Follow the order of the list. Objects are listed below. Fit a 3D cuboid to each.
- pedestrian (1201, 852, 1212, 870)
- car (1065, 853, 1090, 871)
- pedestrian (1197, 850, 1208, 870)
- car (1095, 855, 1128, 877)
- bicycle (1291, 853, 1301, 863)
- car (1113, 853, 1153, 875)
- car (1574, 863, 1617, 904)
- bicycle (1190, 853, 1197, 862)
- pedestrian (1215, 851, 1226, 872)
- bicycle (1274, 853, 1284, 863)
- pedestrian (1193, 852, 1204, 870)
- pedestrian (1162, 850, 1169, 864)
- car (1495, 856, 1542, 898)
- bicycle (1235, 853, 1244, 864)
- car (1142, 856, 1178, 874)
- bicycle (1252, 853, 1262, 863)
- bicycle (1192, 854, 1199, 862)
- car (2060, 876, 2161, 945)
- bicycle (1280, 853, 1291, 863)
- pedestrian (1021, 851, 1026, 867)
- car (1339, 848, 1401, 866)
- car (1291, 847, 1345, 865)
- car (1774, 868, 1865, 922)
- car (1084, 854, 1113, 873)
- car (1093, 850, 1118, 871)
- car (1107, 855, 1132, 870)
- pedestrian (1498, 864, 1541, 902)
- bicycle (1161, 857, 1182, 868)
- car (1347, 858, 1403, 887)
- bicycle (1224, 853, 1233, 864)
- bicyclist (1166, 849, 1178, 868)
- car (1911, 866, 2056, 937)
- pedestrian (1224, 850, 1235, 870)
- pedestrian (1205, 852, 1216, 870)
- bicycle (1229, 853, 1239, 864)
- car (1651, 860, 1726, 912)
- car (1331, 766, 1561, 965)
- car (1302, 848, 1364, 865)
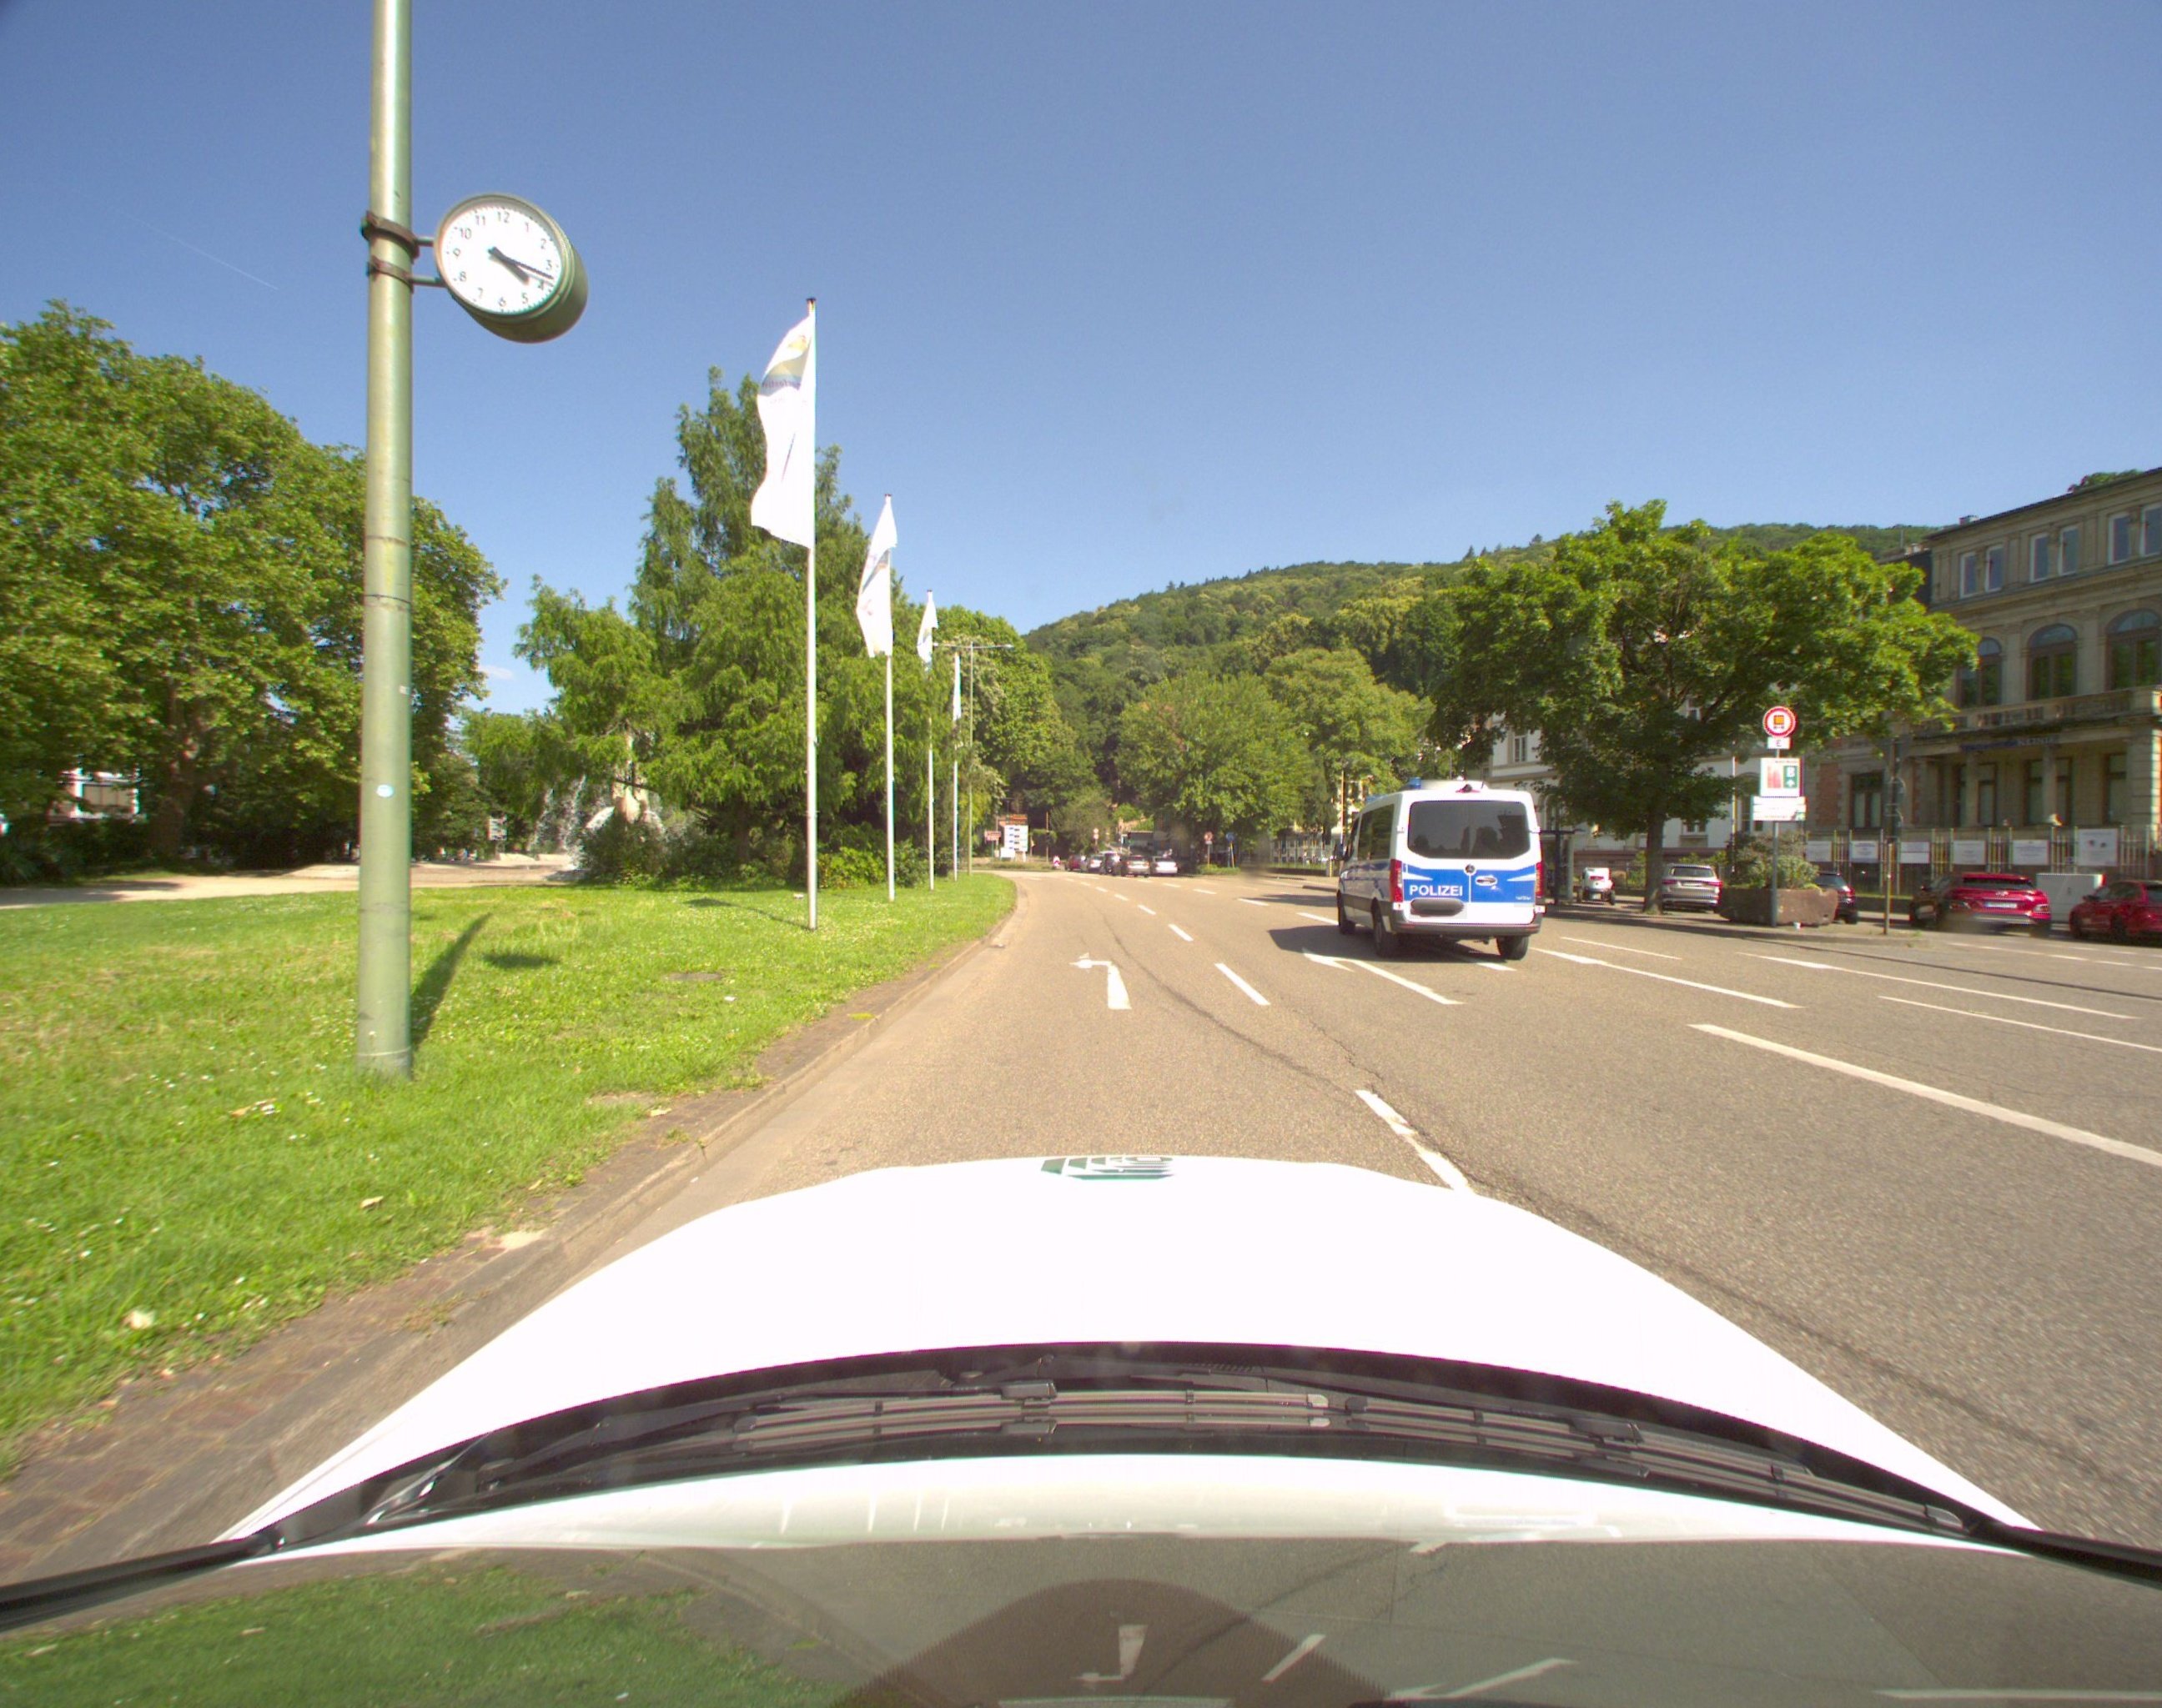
[{"bbox_3d":[11.553,0.615,74.984,0.770,1.663,0.827,1,0,-7],"label":"pedestrian"},{"bbox_3d":[-0.312,0.674,71.763,1.755,1.461,3.484,1,0,-8],"label":"car"},{"bbox_3d":[10.889,0.531,73.236,0.770,1.854,0.827,1,0,-7],"label":"pedestrian"},{"bbox_3d":[2.185,0.842,58.833,1.755,1.461,3.484,1,0,-8],"label":"car"},{"bbox_3d":[23.300,0.452,88.301,0.536,1.085,1.831,0,0,-6],"label":"bicycle"},{"bbox_3d":[3.300,0.627,52.788,1.756,1.334,3.789,1,0,-10],"label":"car"},{"bbox_3d":[20.032,1.108,31.752,1.186,1.482,2.302,1,0,26],"label":"car"},{"bbox_3d":[12.823,0.392,92.656,0.405,1.012,1.338,0,0,-7],"label":"bicycle"},{"bbox_3d":[12.596,0.644,73.397,0.771,1.854,0.827,1,0,-9],"label":"pedestrian"},{"bbox_3d":[21.436,0.456,88.158,0.536,1.085,1.831,0,0,-6],"label":"bicycle"},{"bbox_3d":[10.741,0.630,74.439,0.770,1.663,0.827,1,0,-7],"label":"pedestrian"},{"bbox_3d":[8.758,0.288,84.471,0.490,1.458,0.729,0,-1,-19],"label":"pedestrian"},{"bbox_3d":[19.124,0.961,35.517,1.692,1.696,4.300,1,0,29],"label":"car"},{"bbox_3d":[17.094,0.467,87.848,0.536,1.085,1.831,0,0,-6],"label":"bicycle"},{"bbox_3d":[5.558,0.770,57.321,1.755,1.213,3.484,1,0,-8],"label":"car"},{"bbox_3d":[18.984,0.462,87.988,0.536,1.085,1.831,0,0,-6],"label":"bicycle"},{"bbox_3d":[12.771,0.434,90.739,0.405,0.941,1.338,0,0,-7],"label":"bicycle"},{"bbox_3d":[23.630,1.222,18.048,1.727,1.418,3.723,1,-1,38],"label":"car"},{"bbox_3d":[22.123,0.454,88.051,0.536,1.085,1.831,0,0,-6],"label":"bicycle"},{"bbox_3d":[-6.071,0.538,86.062,0.545,1.621,0.634,0,0,1],"label":"pedestrian"},{"bbox_3d":[21.741,0.202,61.304,4.041,1.336,1.854,0,0,-10],"label":"car"},{"bbox_3d":[20.533,0.168,70.681,4.147,1.476,1.870,0,0,-13],"label":"car"},{"bbox_3d":[21.755,1.149,24.121,1.585,1.417,3.845,1,0,36],"label":"car"},{"bbox_3d":[1.357,0.720,64.073,1.755,1.461,3.636,1,0,-8],"label":"car"},{"bbox_3d":[2.286,0.570,75.933,1.755,1.938,3.484,1,0,-8],"label":"car"},{"bbox_3d":[3.725,0.811,79.399,1.755,1.461,3.484,1,0,-8],"label":"car"},{"bbox_3d":[14.165,0.922,26.303,1.024,1.197,0.784,1,0,-28],"label":"pedestrian"},{"bbox_3d":[9.104,0.877,82.071,2.067,1.112,0.758,1,0,4],"label":"bicycle"},{"bbox_3d":[16.174,0.977,44.642,1.804,1.461,4.133,1,0,36],"label":"car"},{"bbox_3d":[15.864,0.470,87.708,0.536,1.085,1.831,0,0,-6],"label":"bicycle"},{"bbox_3d":[9.153,0.479,82.061,1.120,1.932,0.749,1,0,5],"label":"bicyclist"},{"bbox_3d":[23.199,1.141,21.100,1.727,1.575,3.902,1,0,36],"label":"car"},{"bbox_3d":[13.528,0.562,74.357,0.771,1.854,0.827,1,0,-9],"label":"pedestrian"},{"bbox_3d":[11.757,0.624,73.782,0.770,1.663,0.828,1,0,-6],"label":"pedestrian"},{"bbox_3d":[16.504,0.469,87.773,0.536,1.085,1.831,0,0,-6],"label":"bicycle"},{"bbox_3d":[20.953,1.045,28.231,1.692,1.629,4.343,1,0,32],"label":"car"},{"bbox_3d":[5.403,0.147,12.867,2.061,2.508,4.941,1,0,8],"label":"car"},{"bbox_3d":[20.331,0.219,65.829,4.467,1.336,1.815,0,0,-10],"label":"car"}]
